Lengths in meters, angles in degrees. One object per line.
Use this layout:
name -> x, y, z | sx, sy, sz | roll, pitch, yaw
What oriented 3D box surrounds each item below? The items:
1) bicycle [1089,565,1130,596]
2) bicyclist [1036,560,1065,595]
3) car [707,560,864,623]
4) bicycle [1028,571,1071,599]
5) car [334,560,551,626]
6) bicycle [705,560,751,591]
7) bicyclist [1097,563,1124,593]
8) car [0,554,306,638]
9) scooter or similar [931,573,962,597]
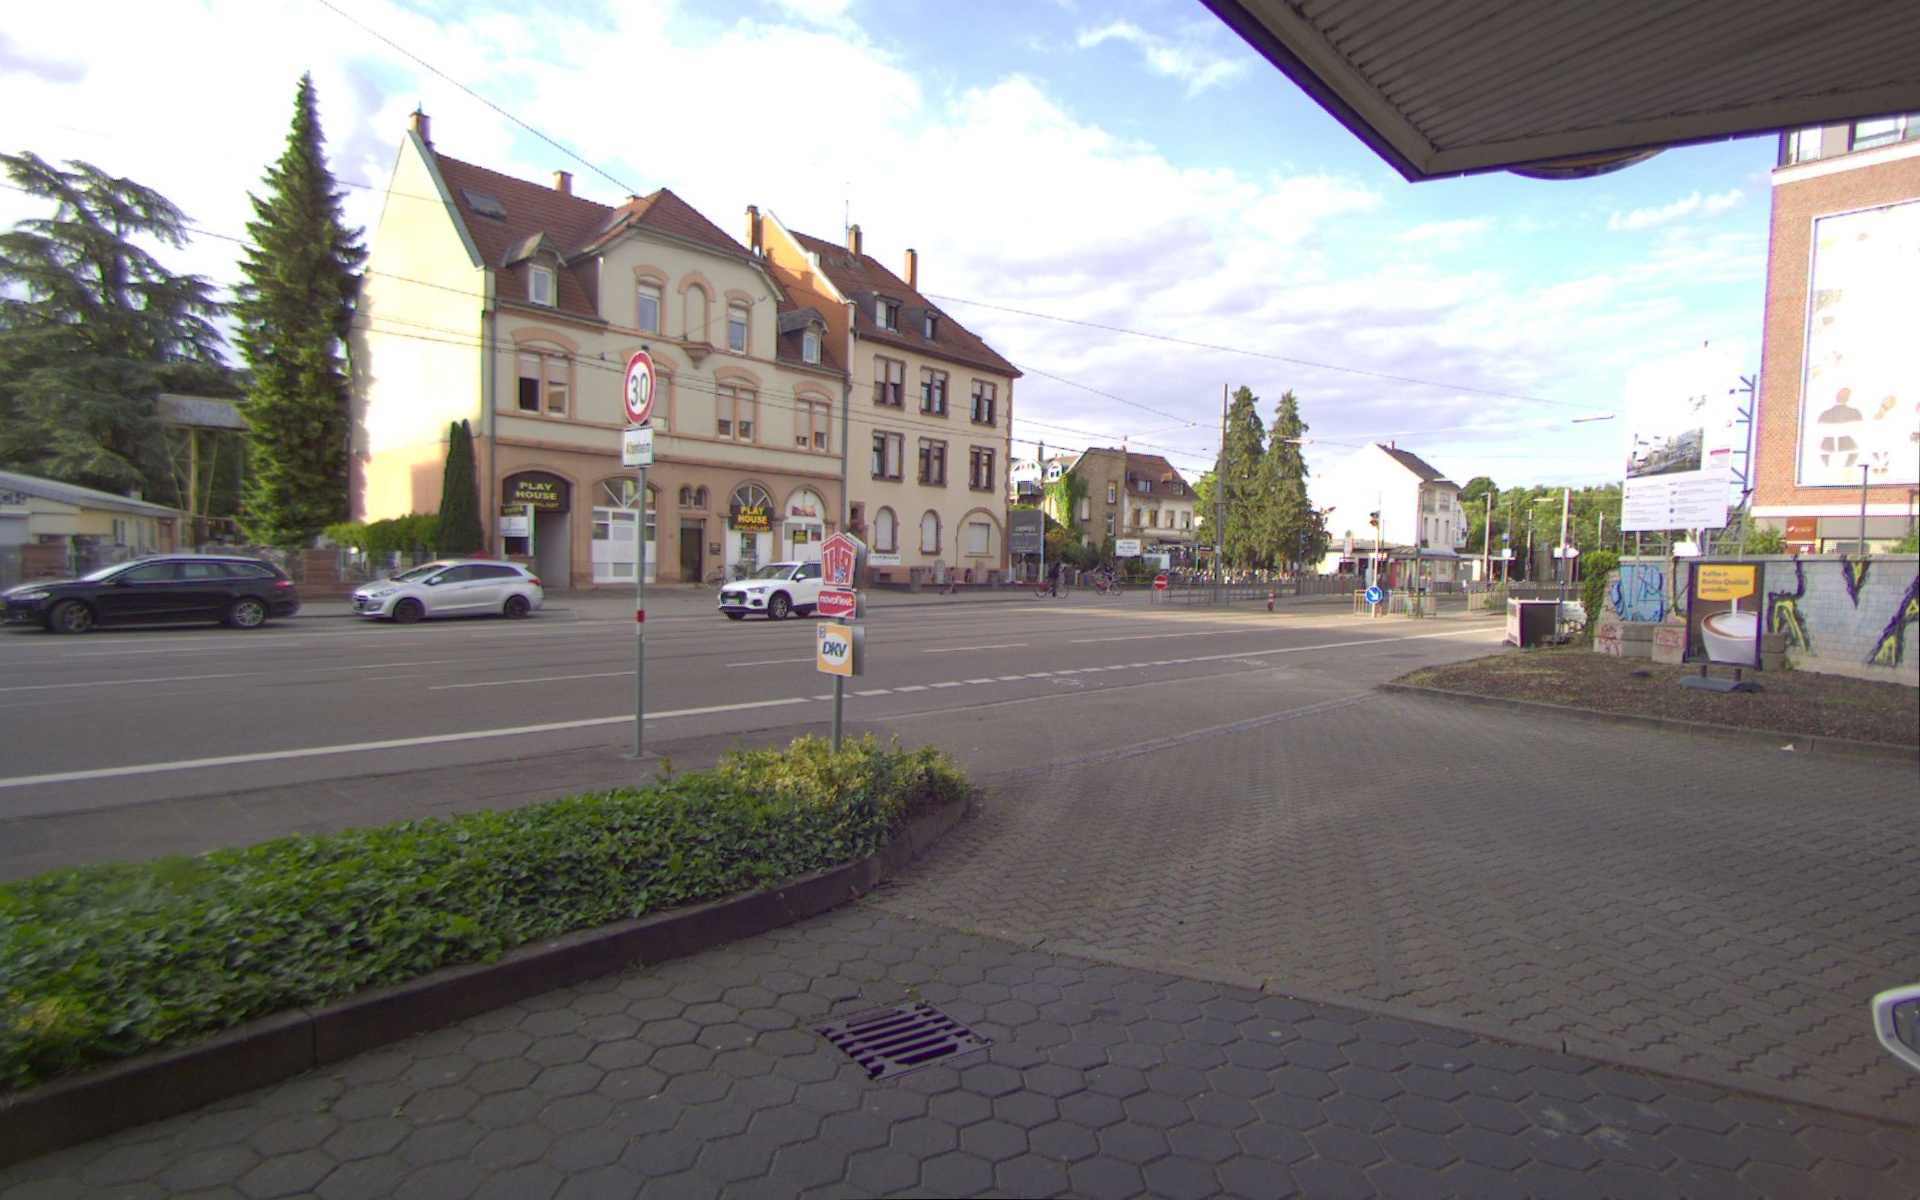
bicycle -> 7.902, -1.047, 53.041 | 1.962, 1.512, 0.785 | 2, 4, -21
bicyclist -> 4.375, -1.105, 48.532 | 0.953, 1.579, 0.839 | 1, 6, -31
car -> -4.724, -0.284, 27.834 | 1.809, 1.598, 4.368 | 1, 2, 33
bicycle -> 4.346, -0.713, 48.577 | 1.884, 1.219, 0.839 | 1, 6, -31
car -> -13.003, -0.245, 25.466 | 1.970, 1.495, 4.467 | 3, 3, 40
bicycle -> -9.145, -0.954, 39.711 | 0.508, 1.189, 1.809 | 4, 2, 40
bicyclist -> 7.955, -1.182, 53.051 | 1.079, 1.512, 0.785 | 2, 4, -20
car -> -16.571, -0.147, 20.733 | 1.970, 1.516, 4.801 | 3, 3, 40
scooter or similar -> -0.600, -0.690, 45.137 | 0.488, 1.015, 1.592 | 5, 5, 39
